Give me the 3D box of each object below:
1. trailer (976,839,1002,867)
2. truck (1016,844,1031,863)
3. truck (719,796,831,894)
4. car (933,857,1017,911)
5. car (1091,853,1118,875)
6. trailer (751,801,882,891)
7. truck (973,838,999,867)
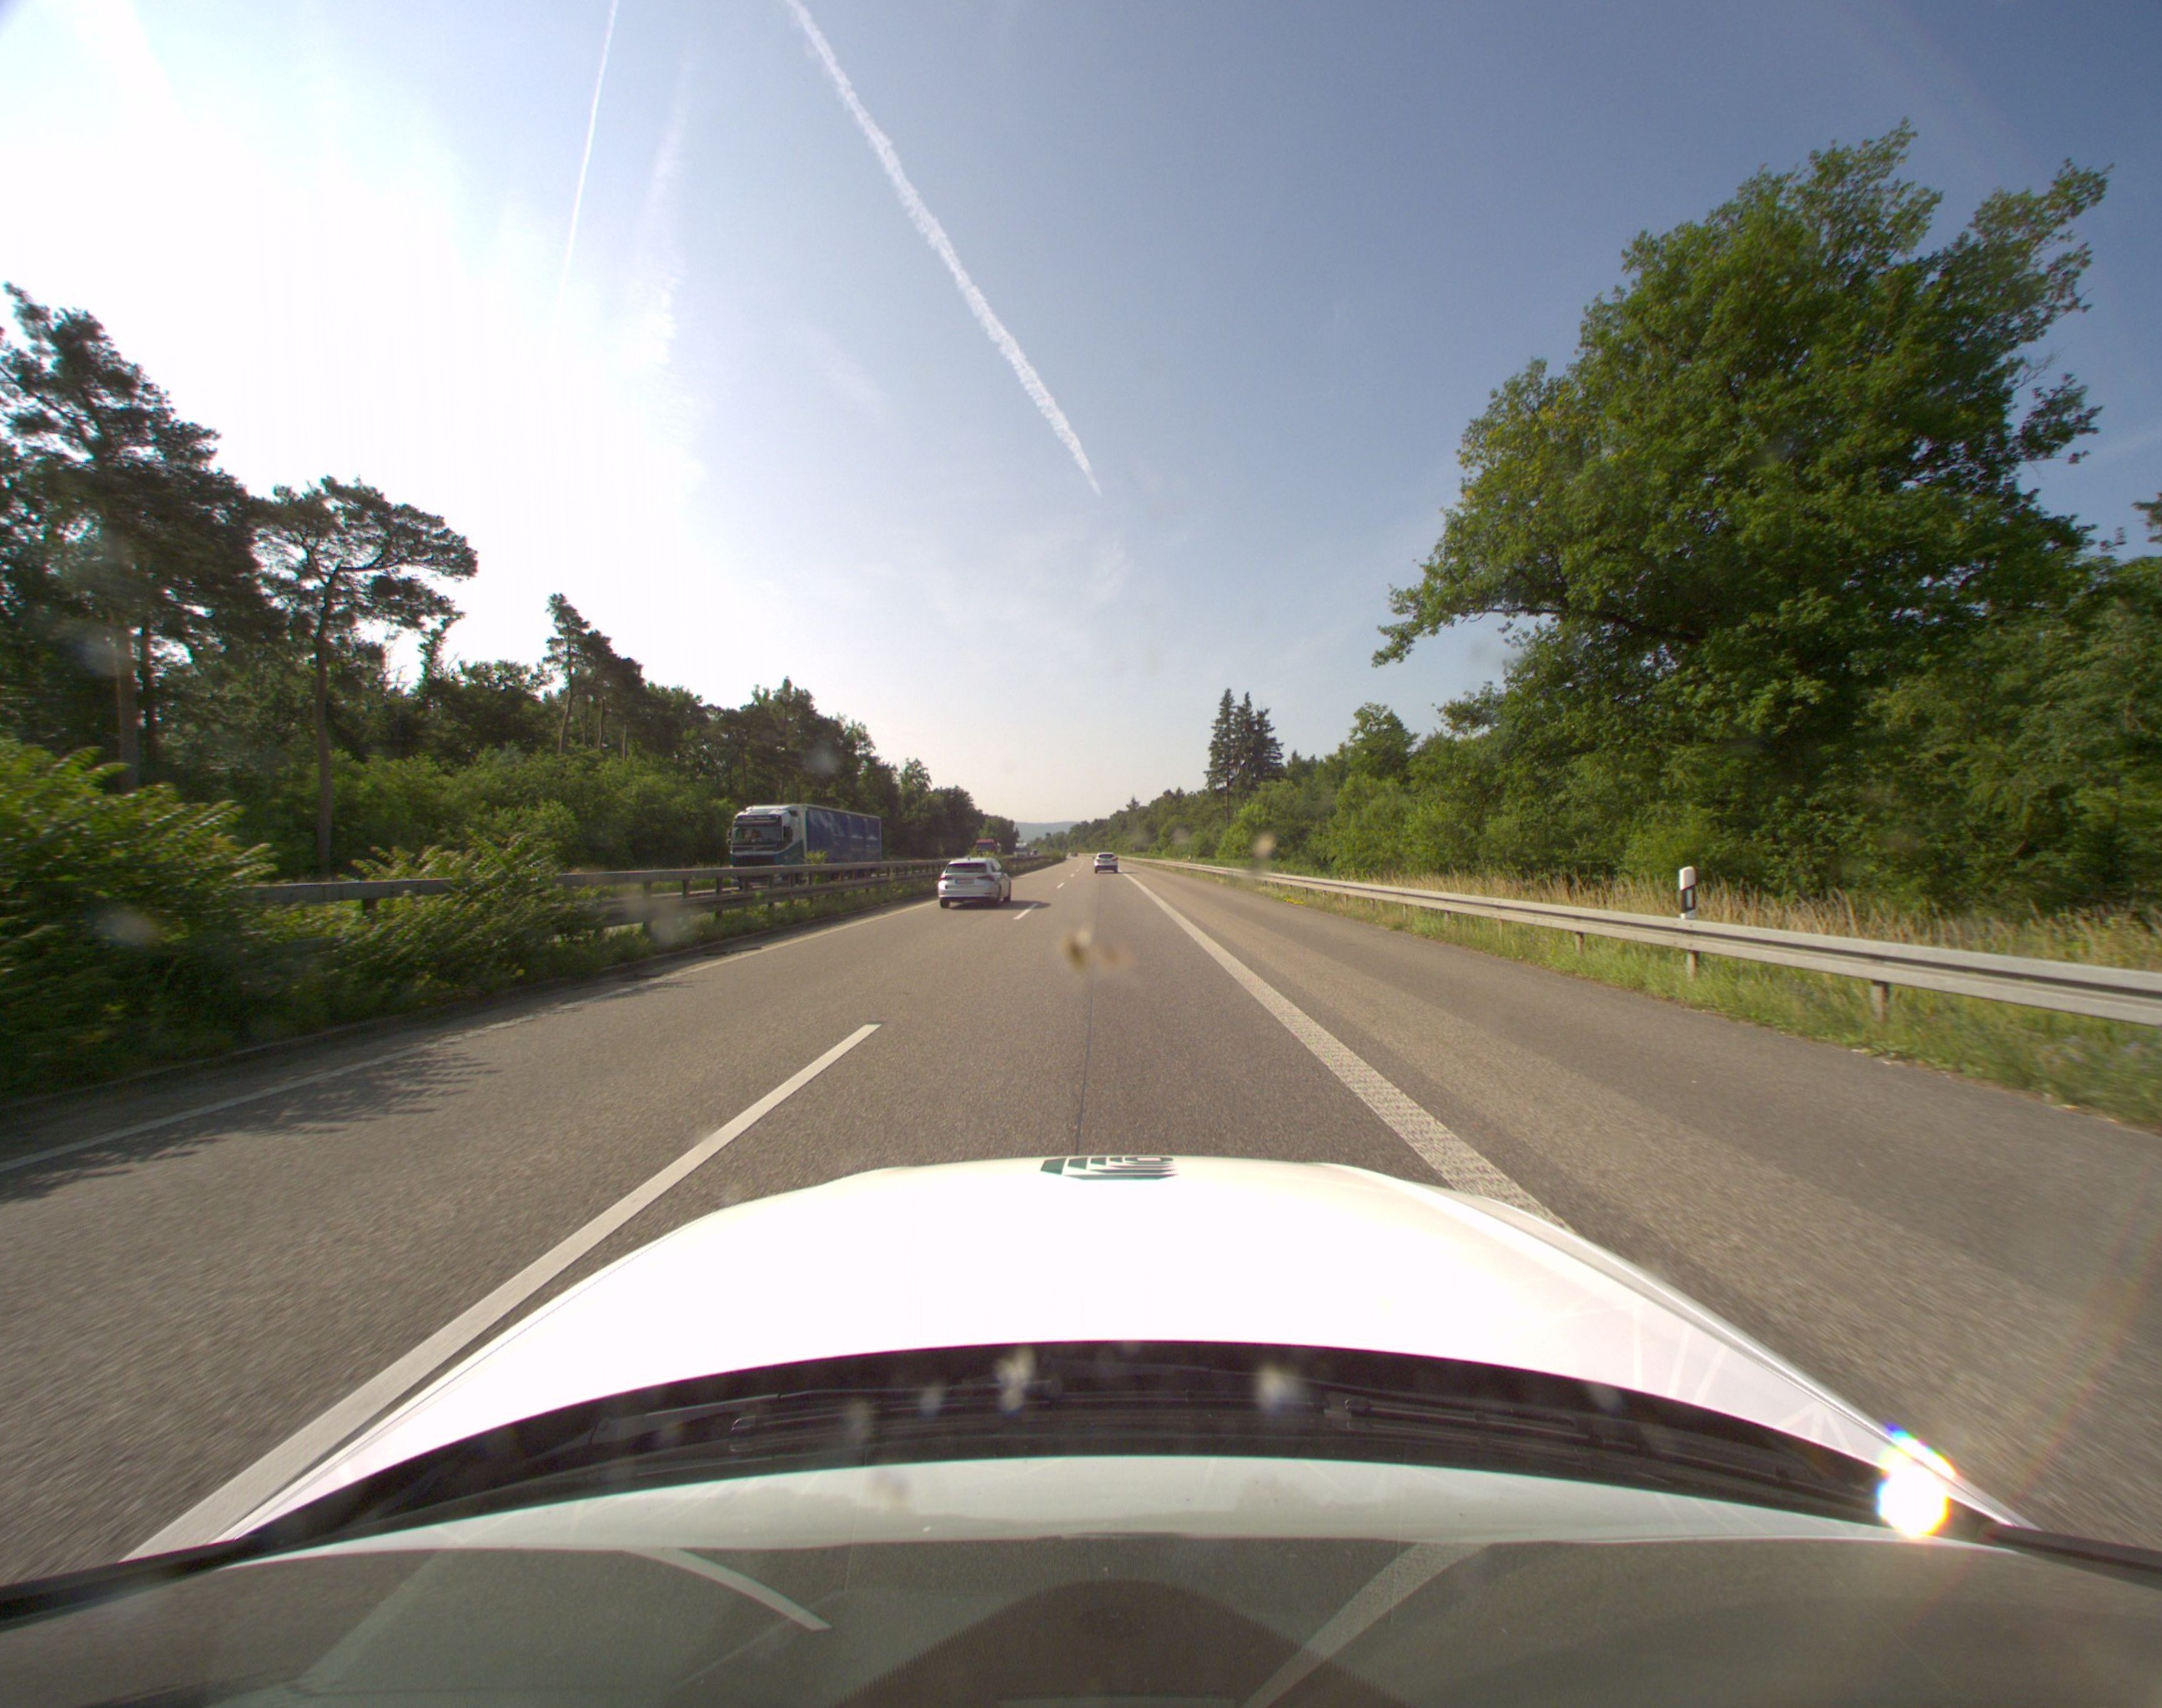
[{"bbox_3d":[-13.850,-0.134,123.270,3.286,4.039,8.367,0,-1,-2],"label":"trailer"},{"bbox_3d":[-13.041,-0.166,184.163,2.829,4.196,5.545,-2,0,0],"label":"truck"},{"bbox_3d":[-14.355,-0.400,38.784,2.699,4.200,6.295,-2,0,1],"label":"truck"},{"bbox_3d":[-3.180,0.849,25.452,1.786,1.438,5.279,-2,0,1],"label":"car"},{"bbox_3d":[1.844,0.741,63.731,1.868,1.586,3.998,1,0,-2],"label":"car"},{"bbox_3d":[-14.207,-0.396,45.364,2.682,4.200,13.083,-2,0,1],"label":"trailer"},{"bbox_3d":[-13.689,-0.215,117.978,3.259,4.039,6.227,0,-1,-2],"label":"truck"}]
